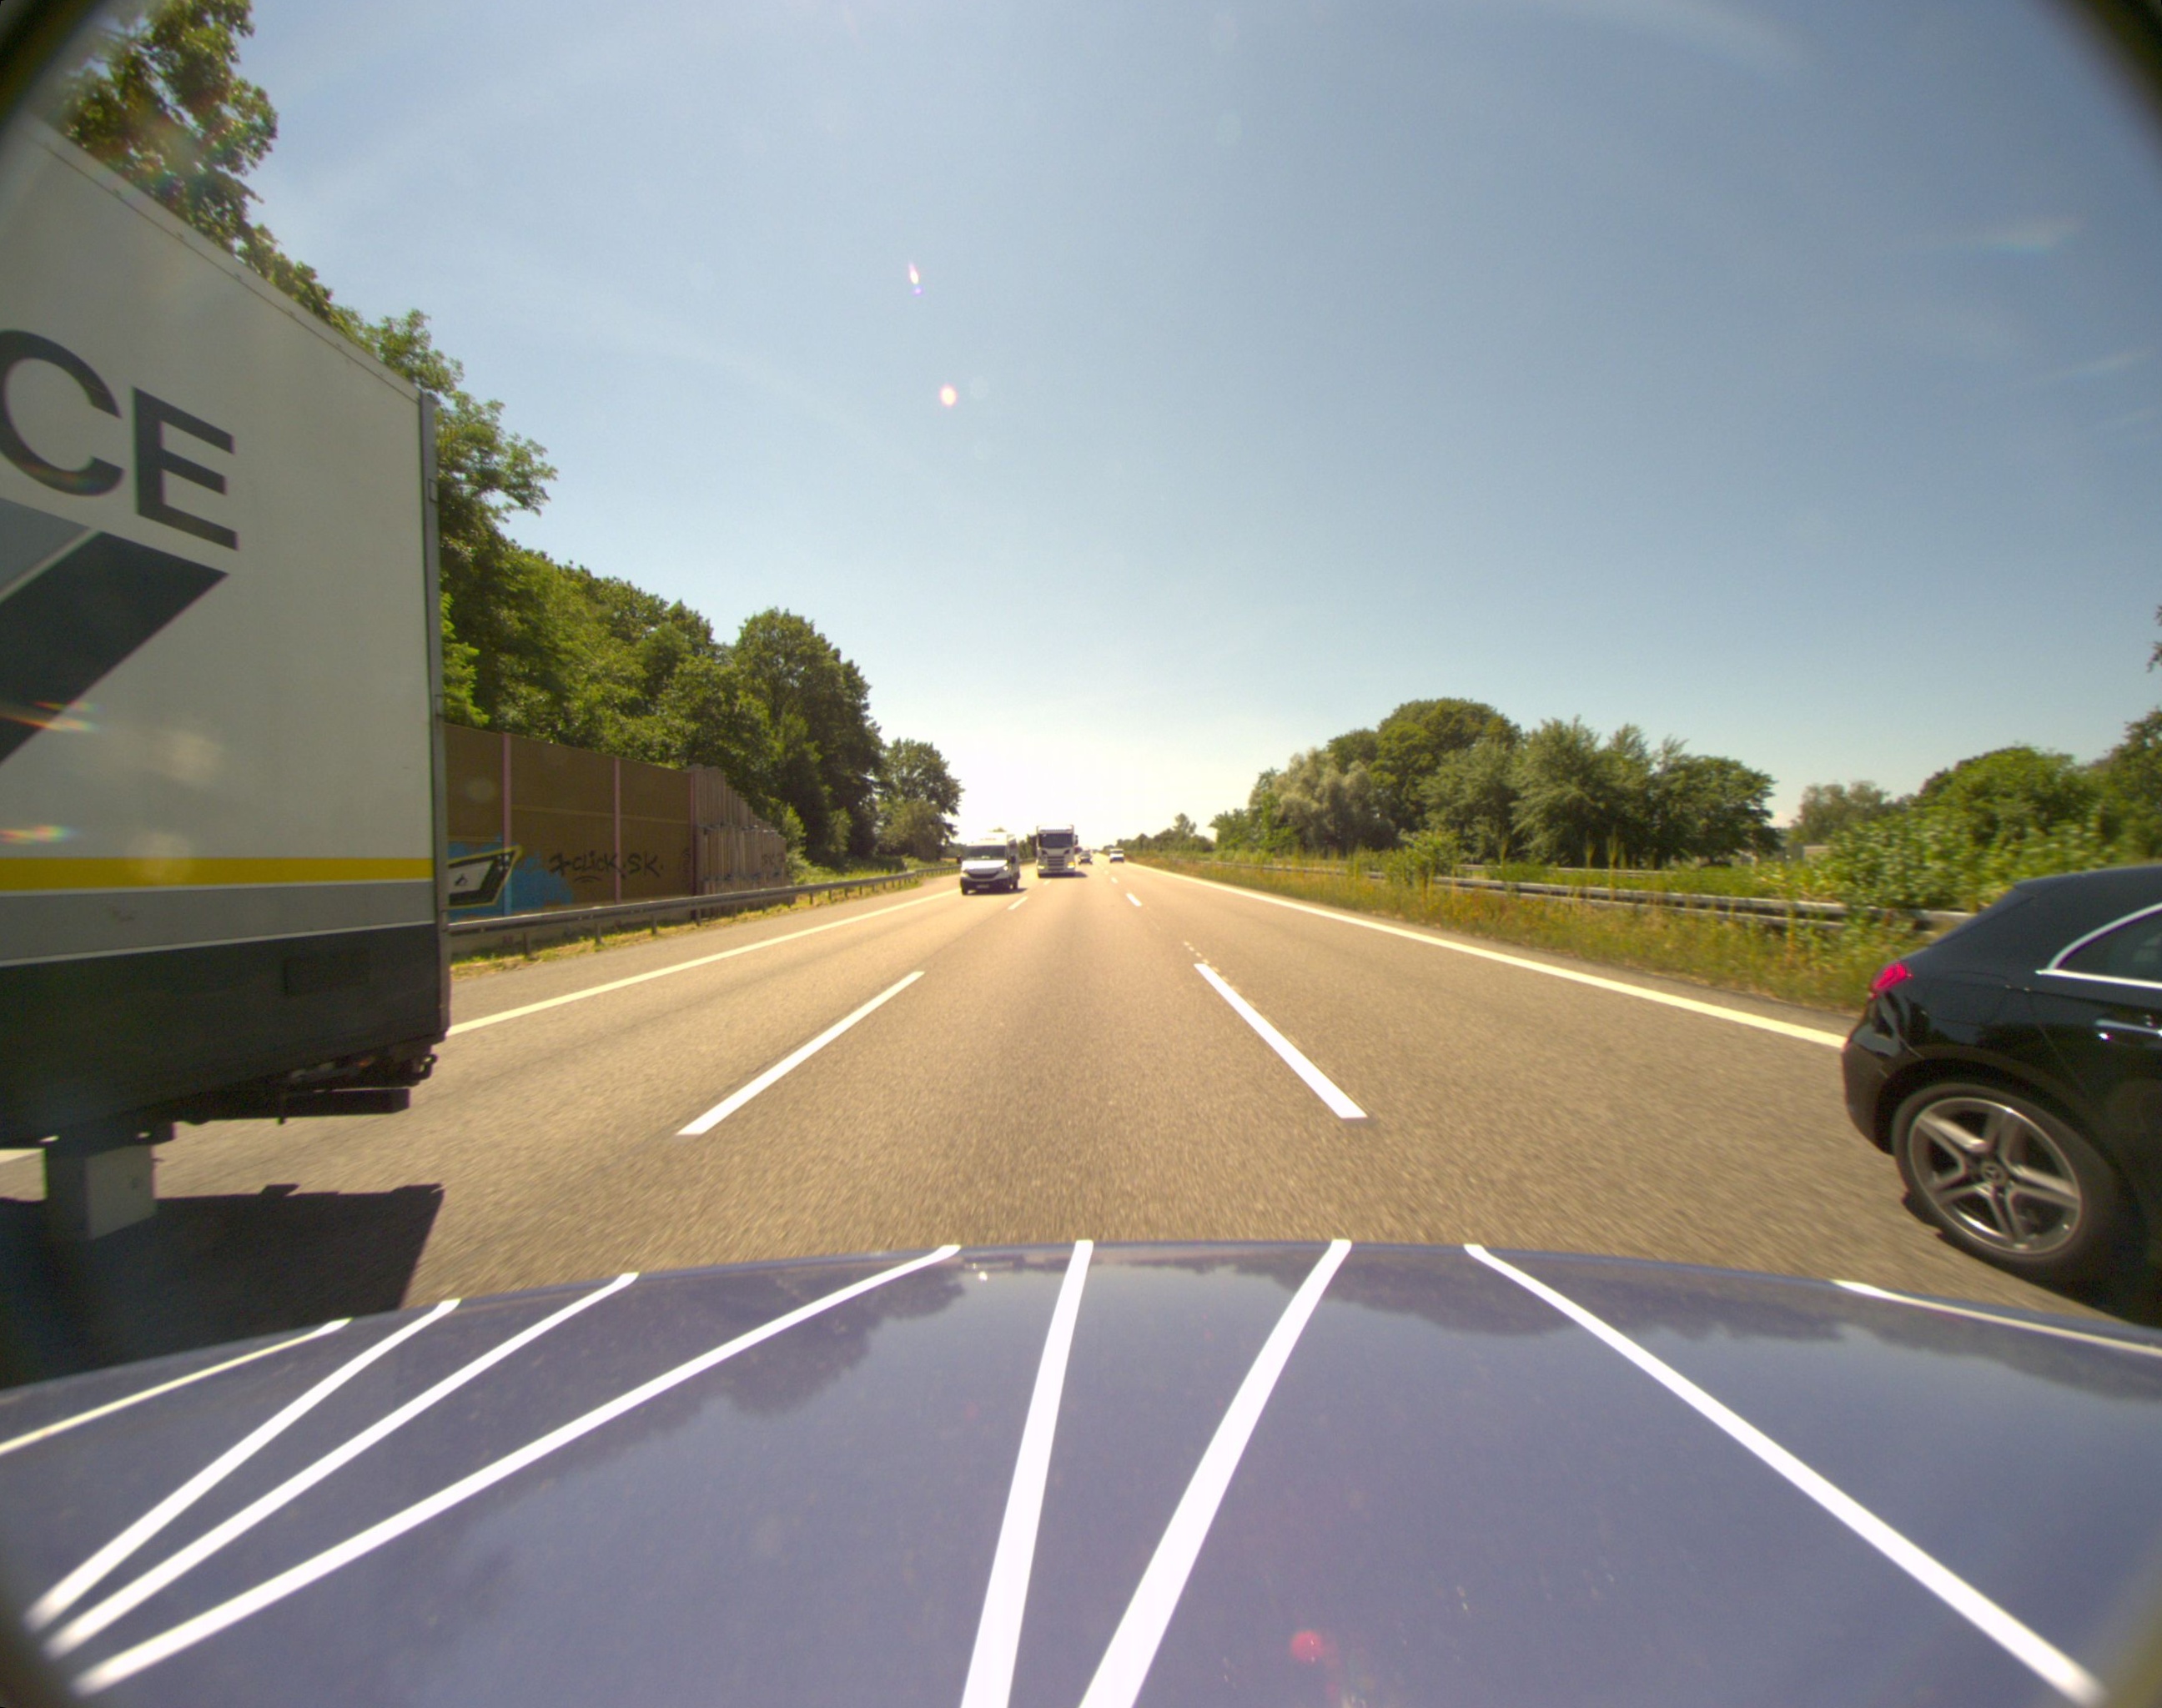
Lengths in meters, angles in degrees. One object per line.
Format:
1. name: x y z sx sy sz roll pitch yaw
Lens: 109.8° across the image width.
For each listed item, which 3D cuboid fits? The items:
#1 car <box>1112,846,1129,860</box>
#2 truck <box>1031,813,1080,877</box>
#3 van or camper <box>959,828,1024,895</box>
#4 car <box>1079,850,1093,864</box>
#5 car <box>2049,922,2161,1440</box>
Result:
1. car: 5.632 -0.136 108.517 2.147 1.810 5.267 -1 1 1
2. truck: -1.653 -0.611 52.471 2.896 4.007 6.869 -2 1 1
3. van or camper: -3.850 0.271 33.813 2.027 2.622 6.486 -2 1 0
4. car: 0.636 0.318 98.507 1.796 1.696 4.000 2 1 1
5. car: 3.891 0.914 0.317 1.797 1.403 4.052 -1 0 -1
